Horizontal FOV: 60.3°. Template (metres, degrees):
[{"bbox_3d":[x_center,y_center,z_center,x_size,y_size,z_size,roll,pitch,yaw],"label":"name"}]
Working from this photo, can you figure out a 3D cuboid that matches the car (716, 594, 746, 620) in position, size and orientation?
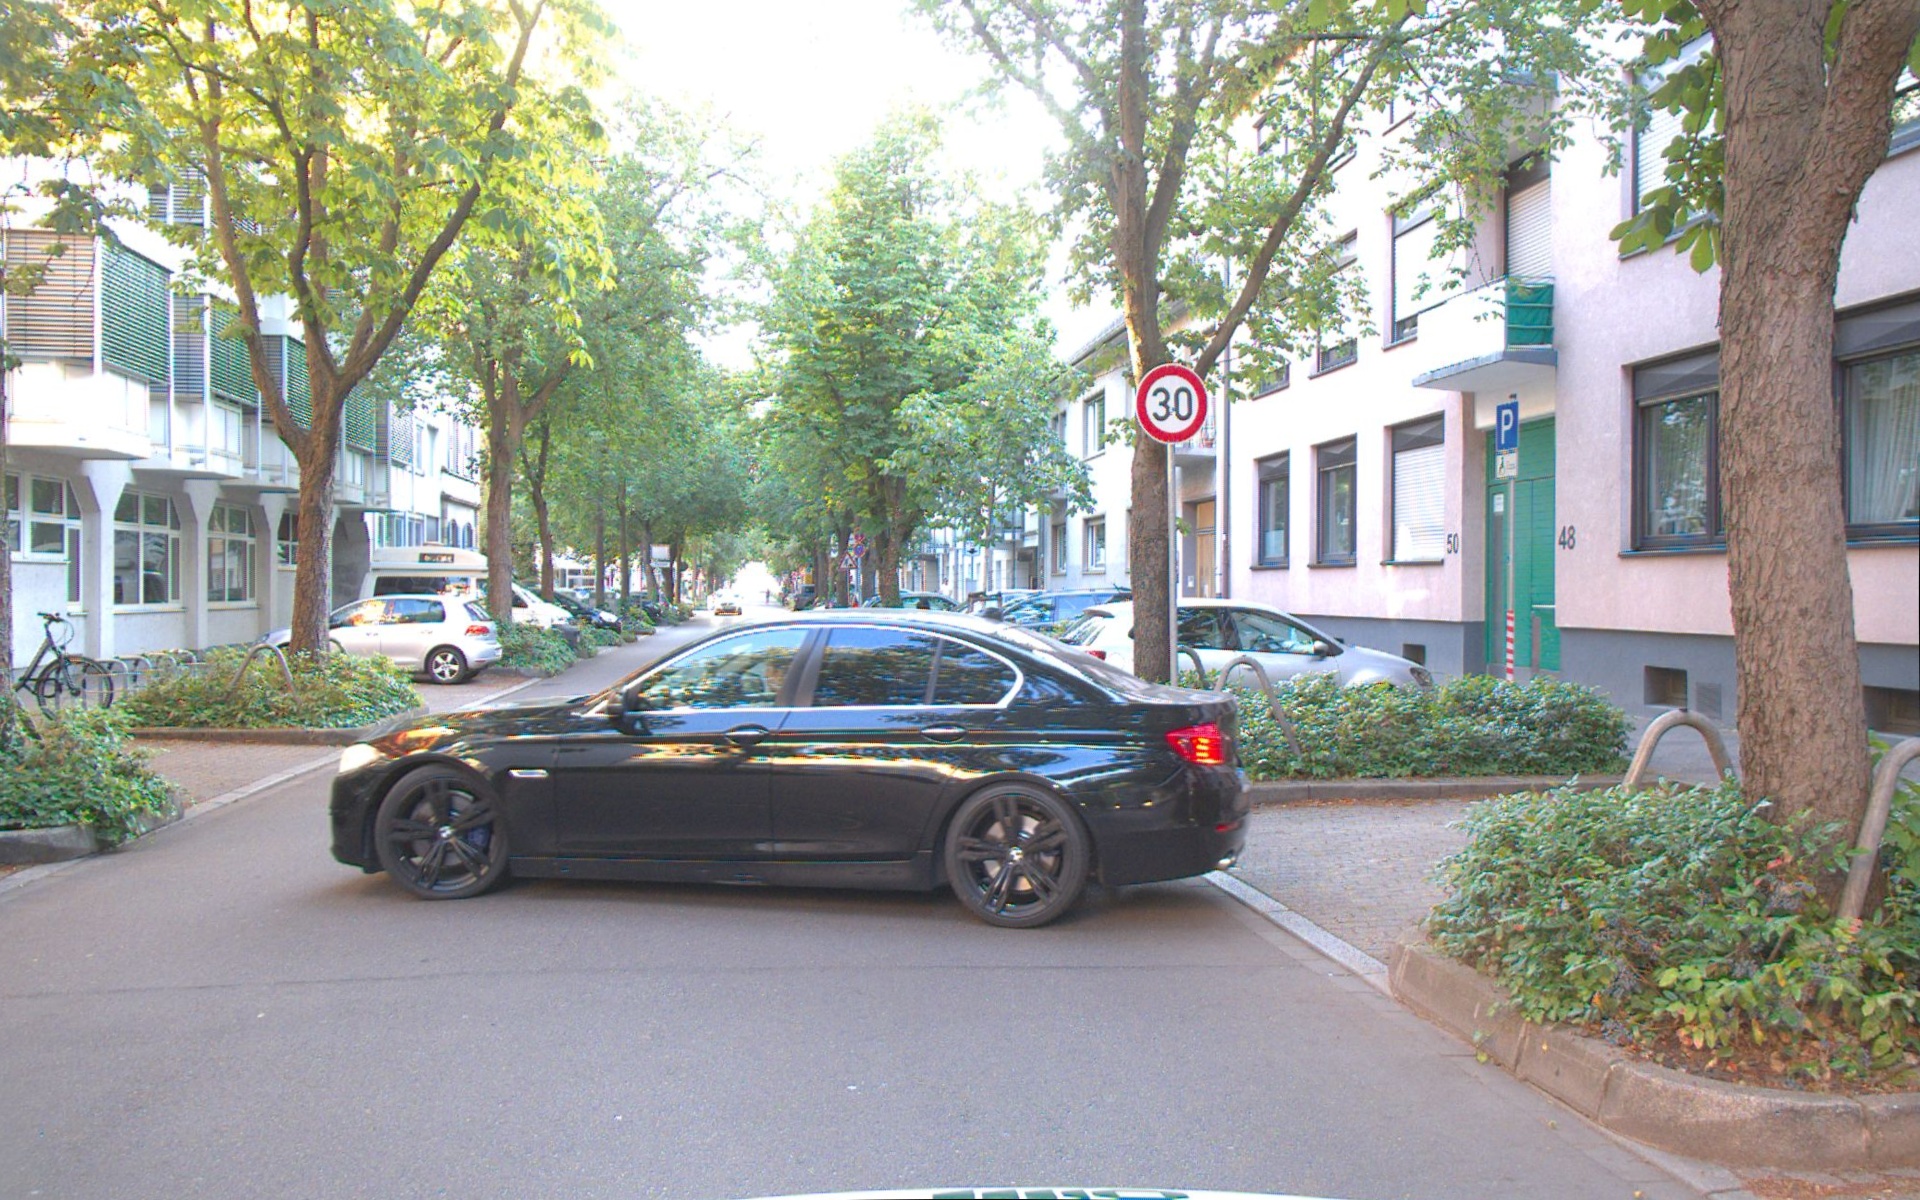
[{"bbox_3d":[-14.630,0.450,105.816,1.745,1.589,4.162,0,0,-6],"label":"car"}]

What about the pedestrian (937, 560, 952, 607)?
[{"bbox_3d":[-0.688,-0.725,72.880,0.577,2.049,0.669,0,0,-6],"label":"pedestrian"}]

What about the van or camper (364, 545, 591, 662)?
[{"bbox_3d":[-10.674,0.059,36.878,4.575,2.521,1.997,0,0,-7],"label":"van or camper"}]

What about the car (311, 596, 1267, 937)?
[{"bbox_3d":[-0.760,0.738,8.640,4.643,1.506,1.802,0,0,10],"label":"car"}]

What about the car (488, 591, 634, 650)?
[{"bbox_3d":[-11.493,0.569,47.856,3.892,1.647,1.783,0,0,-6],"label":"car"}]

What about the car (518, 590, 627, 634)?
[{"bbox_3d":[-15.013,0.446,64.269,3.891,1.647,1.783,0,0,-6],"label":"car"}]

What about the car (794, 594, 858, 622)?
[{"bbox_3d":[-8.168,0.476,100.641,3.891,1.713,1.783,0,0,-6],"label":"car"}]

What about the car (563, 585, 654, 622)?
[{"bbox_3d":[-16.112,0.167,75.897,3.891,1.647,1.783,0,0,-6],"label":"car"}]

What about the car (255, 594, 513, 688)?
[{"bbox_3d":[-9.864,0.679,28.576,3.892,1.544,1.783,0,0,-6],"label":"car"}]

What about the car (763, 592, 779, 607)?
[{"bbox_3d":[-21.164,-0.048,185.064,1.787,1.557,3.995,-1,0,-6],"label":"car"}]

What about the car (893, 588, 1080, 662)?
[{"bbox_3d":[0.542,0.531,36.146,3.893,1.554,1.782,0,0,-8],"label":"car"}]

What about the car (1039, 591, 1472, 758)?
[{"bbox_3d":[2.808,0.669,16.105,3.836,1.502,1.661,0,0,-9],"label":"car"}]

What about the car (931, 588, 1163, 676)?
[{"bbox_3d":[1.516,0.541,29.696,3.894,1.502,1.781,0,0,-9],"label":"car"}]

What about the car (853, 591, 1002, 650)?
[{"bbox_3d":[-0.909,0.540,44.935,3.893,1.554,1.782,0,0,-8],"label":"car"}]

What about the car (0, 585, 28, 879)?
[{"bbox_3d":[-7.105,0.708,7.864,4.272,1.544,1.782,0,0,-7],"label":"car"}]

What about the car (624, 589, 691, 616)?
[{"bbox_3d":[-18.689,0.142,102.279,3.891,1.647,1.783,0,0,-6],"label":"car"}]

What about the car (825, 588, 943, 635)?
[{"bbox_3d":[-2.629,0.370,56.775,3.894,1.554,1.782,0,0,-9],"label":"car"}]
